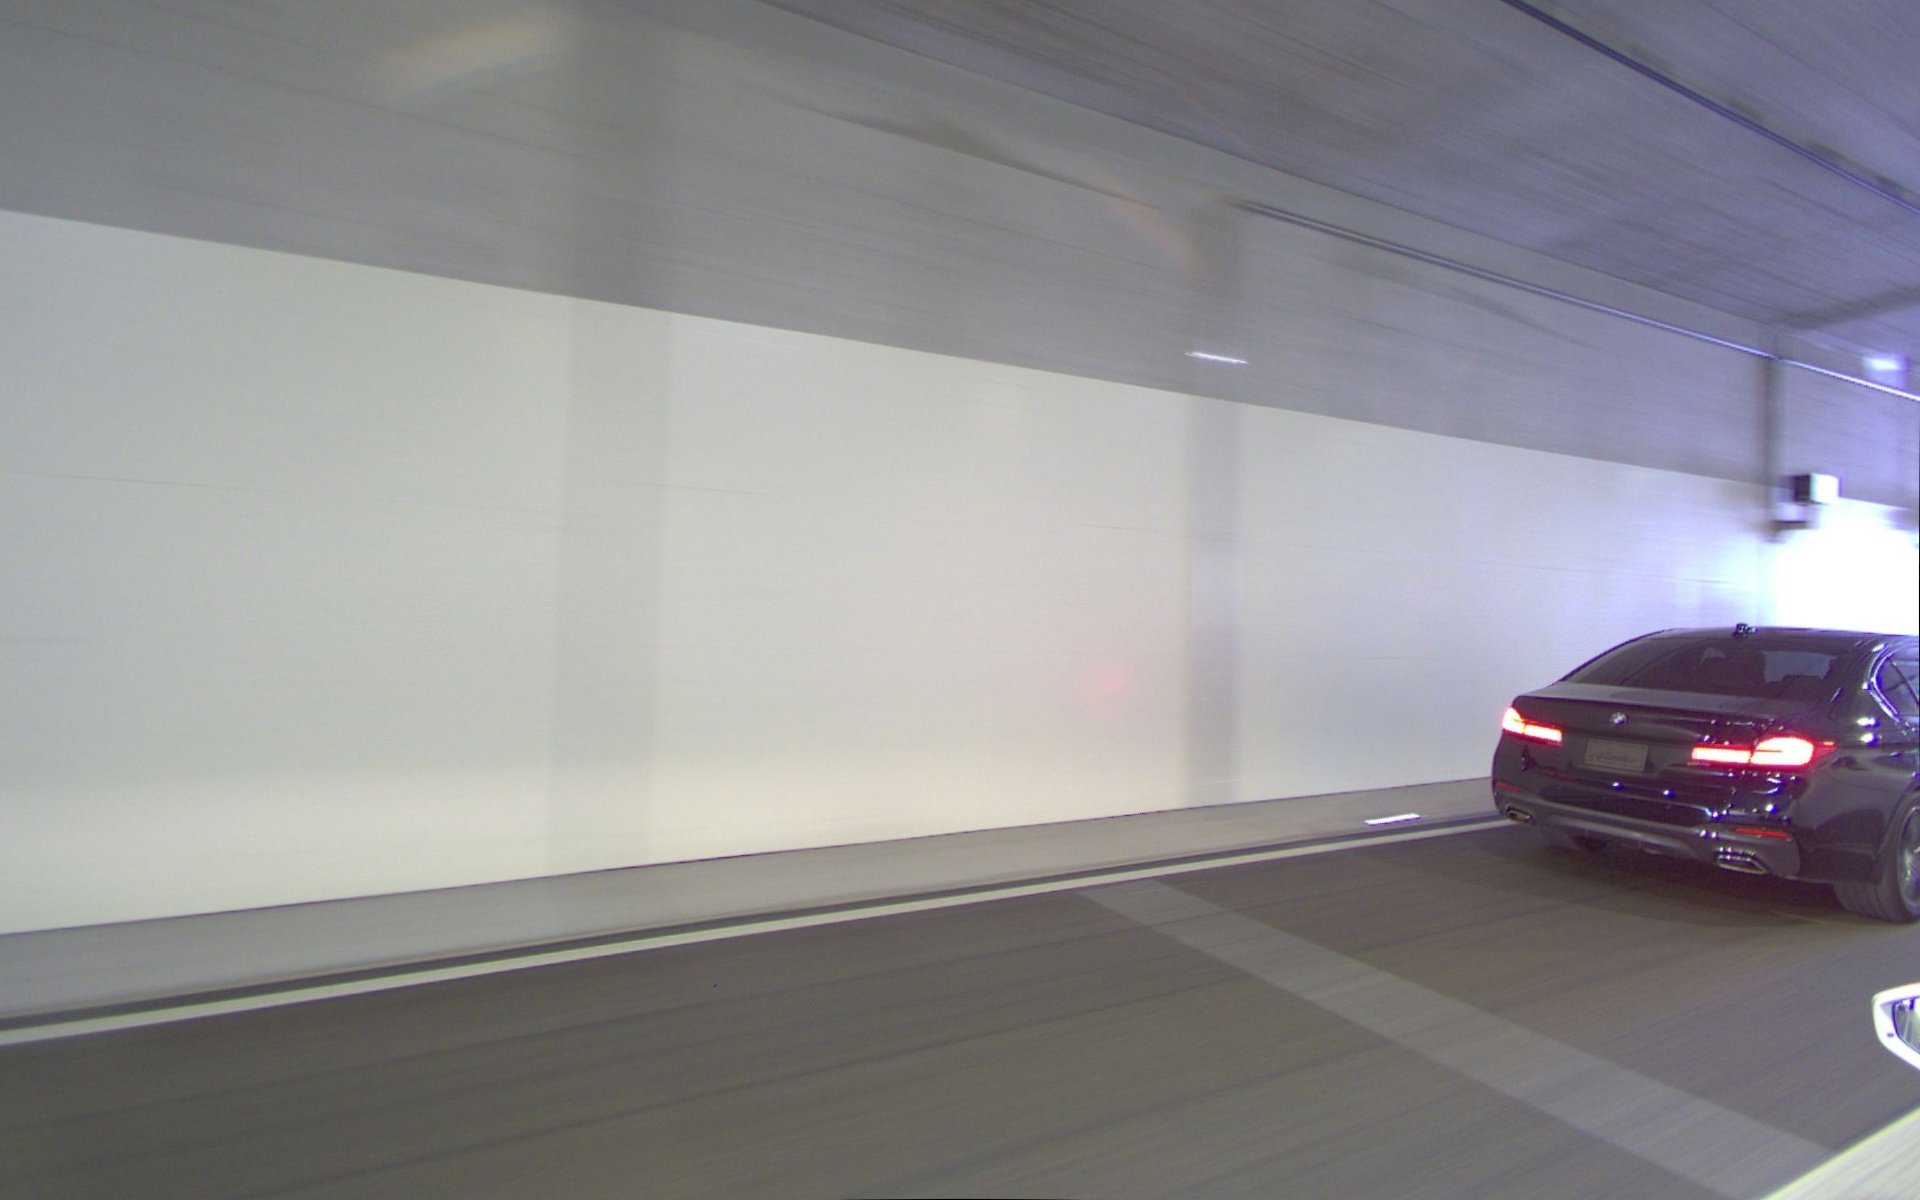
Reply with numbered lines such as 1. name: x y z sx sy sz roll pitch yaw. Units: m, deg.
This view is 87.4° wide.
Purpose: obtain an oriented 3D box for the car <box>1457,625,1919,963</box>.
1. car: 5.398 0.918 6.289 4.792 1.441 1.688 1 -1 -29
